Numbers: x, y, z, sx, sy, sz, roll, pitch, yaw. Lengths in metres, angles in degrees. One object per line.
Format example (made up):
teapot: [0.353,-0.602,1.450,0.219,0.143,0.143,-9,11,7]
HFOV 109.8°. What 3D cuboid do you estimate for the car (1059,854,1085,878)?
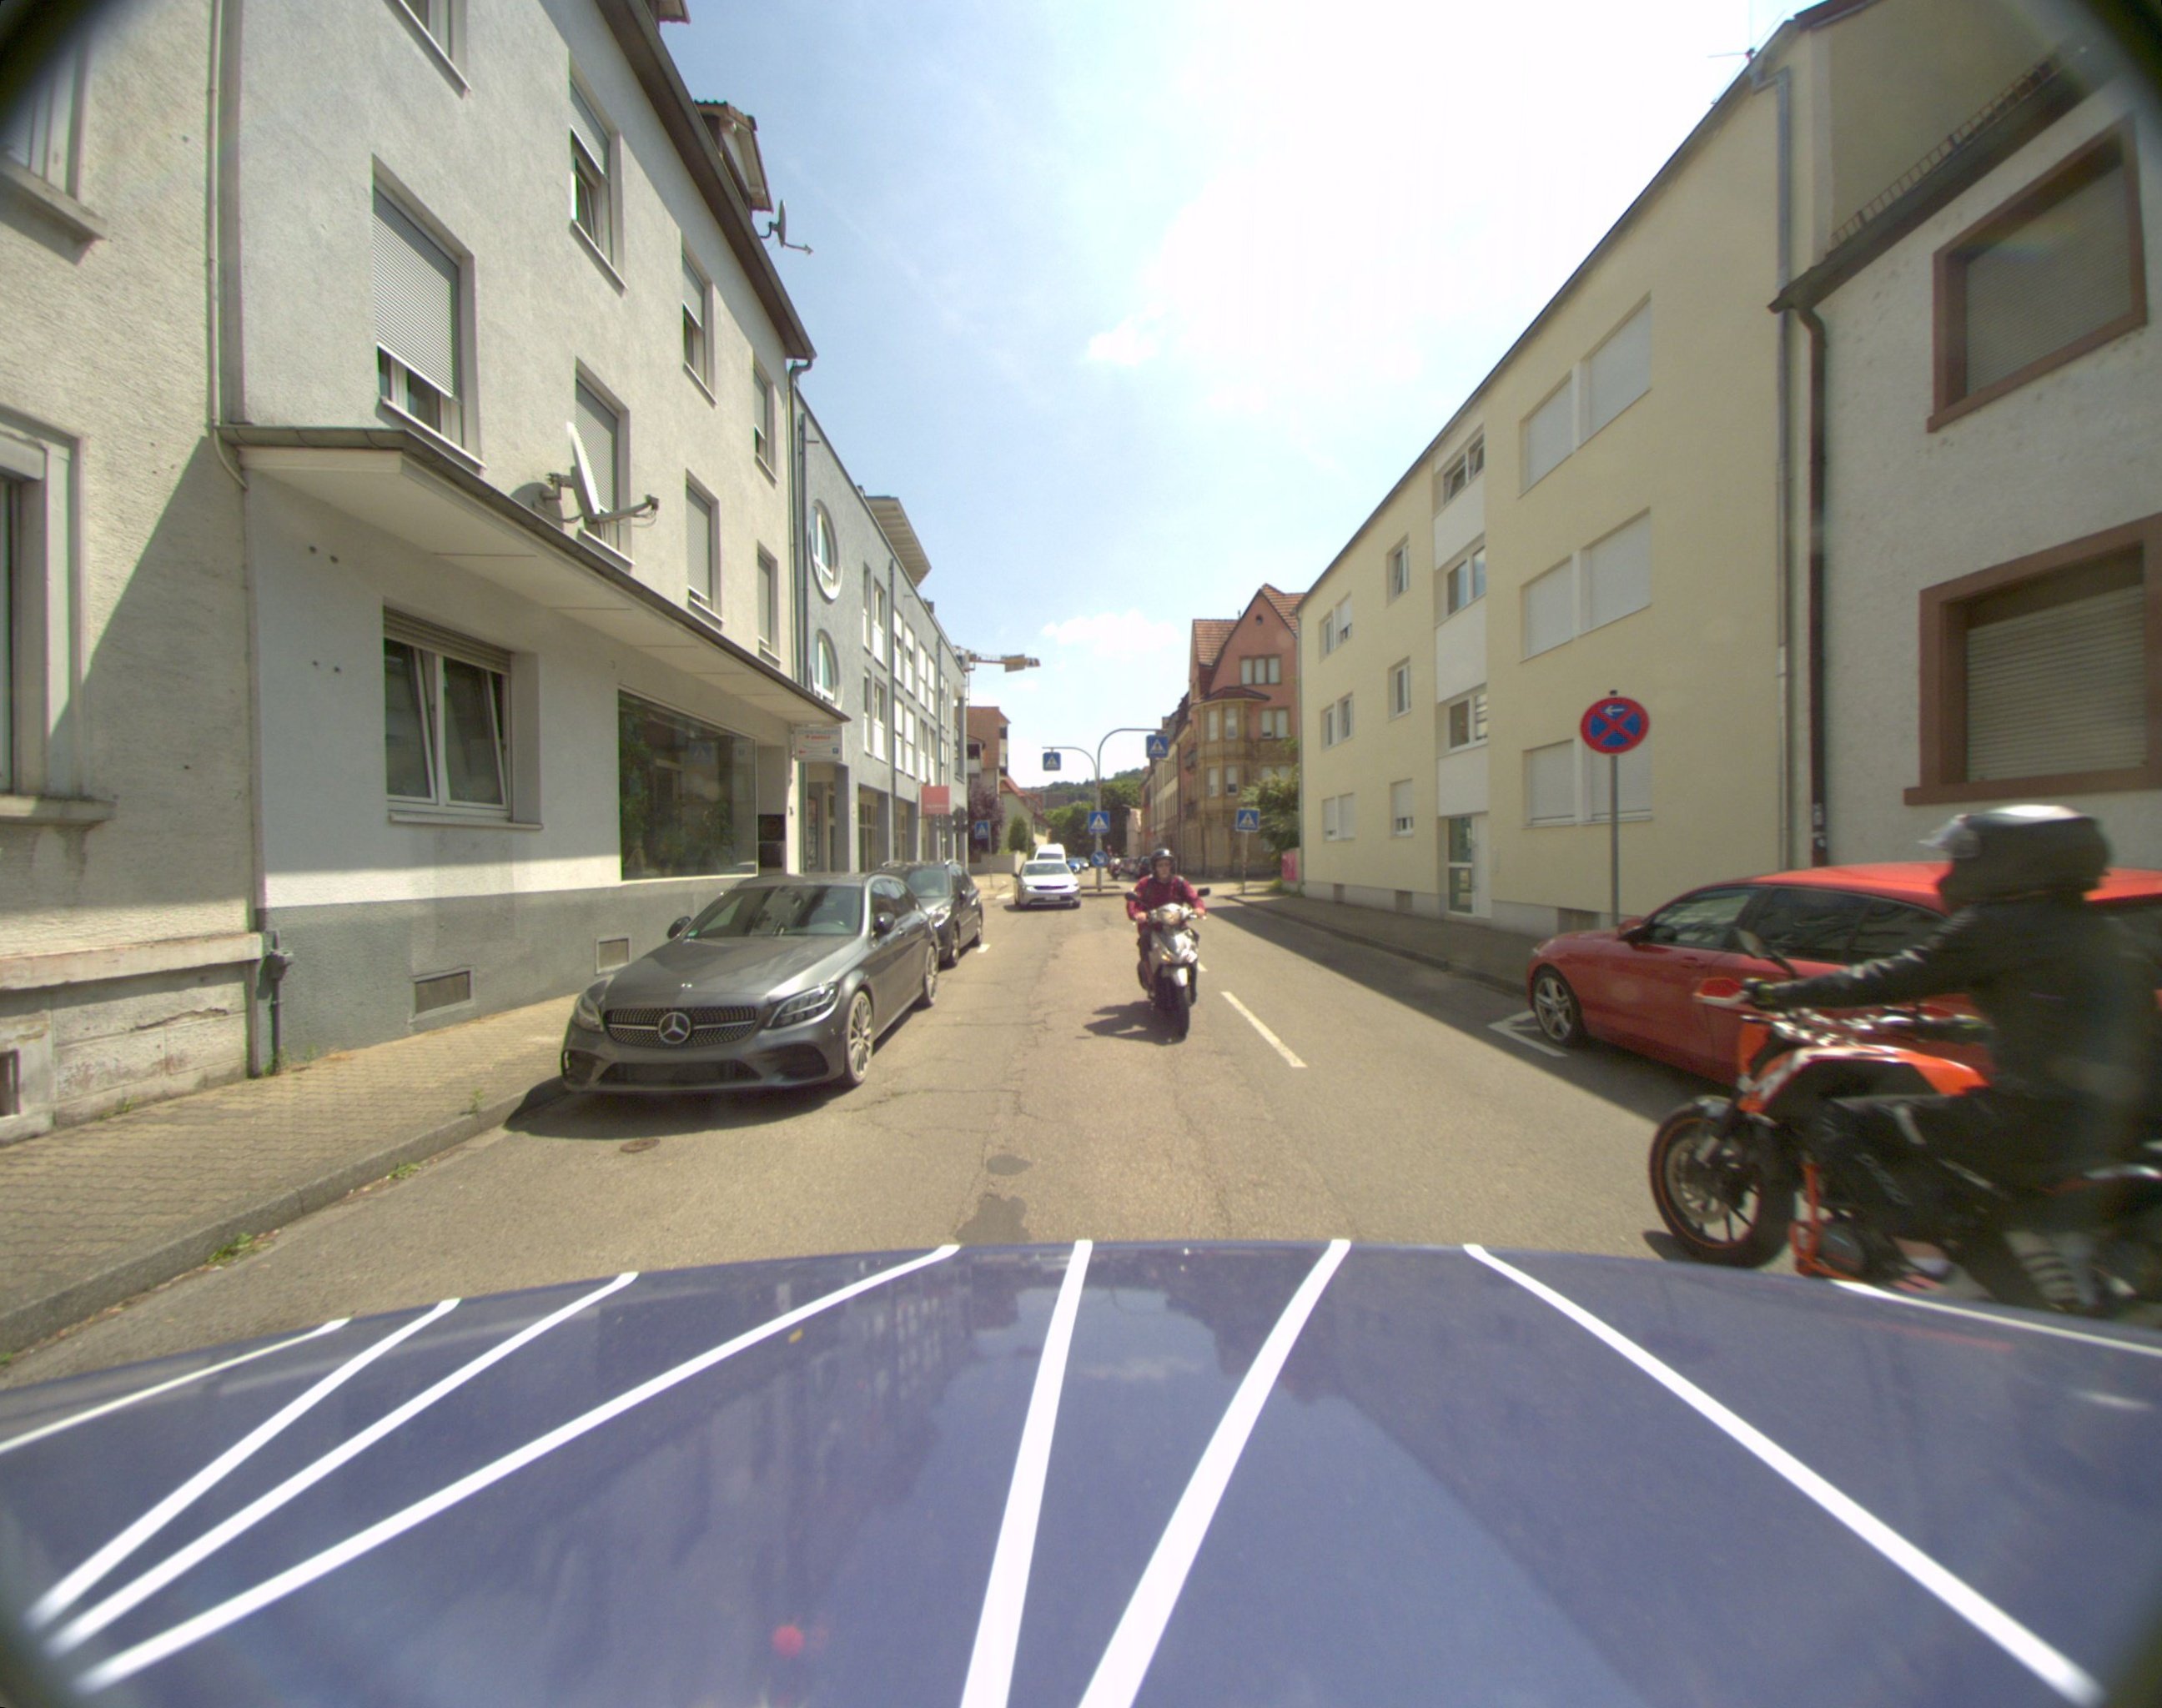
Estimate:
car: [-0.748,1.061,67.563,1.998,2.002,4.000,-3,0,2]

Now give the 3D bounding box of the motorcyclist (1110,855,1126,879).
motorcyclist: [2.343,0.779,47.773,0.918,1.471,1.203,-1,1,0]

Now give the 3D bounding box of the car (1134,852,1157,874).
car: [4.613,0.624,54.670,1.440,1.514,2.695,0,1,0]

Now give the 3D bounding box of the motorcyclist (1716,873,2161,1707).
motorcyclist: [2.382,0.814,1.828,0.824,1.500,1.057,0,1,1]

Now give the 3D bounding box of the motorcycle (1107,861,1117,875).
motorcycle: [2.404,1.050,58.689,0.714,1.022,2.240,0,0,4]

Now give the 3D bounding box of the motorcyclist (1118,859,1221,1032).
motorcyclist: [0.766,0.773,6.878,0.793,1.431,1.020,-2,0,1]

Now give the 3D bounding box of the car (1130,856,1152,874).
car: [4.994,0.909,63.739,1.638,1.423,4.018,1,0,1]

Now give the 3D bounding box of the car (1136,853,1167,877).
car: [4.621,0.690,50.499,1.787,1.450,4.635,0,1,2]

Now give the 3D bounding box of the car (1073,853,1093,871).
car: [0.252,0.892,88.162,1.998,2.002,4.000,-3,0,2]

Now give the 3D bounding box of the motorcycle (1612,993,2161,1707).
motorcycle: [2.347,1.089,1.866,0.689,1.116,2.028,0,0,1]

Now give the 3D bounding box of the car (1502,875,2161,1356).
car: [4.545,0.917,4.522,1.838,1.408,4.290,-1,0,2]

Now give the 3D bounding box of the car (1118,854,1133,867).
car: [5.451,0.792,93.677,1.714,1.451,3.853,1,0,0]

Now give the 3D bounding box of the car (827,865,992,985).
car: [-2.516,0.970,12.117,1.714,1.499,3.999,-1,0,0]

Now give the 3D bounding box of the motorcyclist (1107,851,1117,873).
motorcyclist: [2.386,0.604,58.606,0.714,1.625,1.069,0,0,4]

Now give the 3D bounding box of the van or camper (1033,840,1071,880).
van or camper: [-1.651,0.350,45.039,1.998,2.273,5.144,0,0,0]

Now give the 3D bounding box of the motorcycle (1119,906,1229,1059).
motorcycle: [0.778,1.081,6.970,0.760,1.049,1.992,-2,0,1]

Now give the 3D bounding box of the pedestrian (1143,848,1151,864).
pedestrian: [7.506,0.207,86.738,0.770,1.761,0.764,-2,0,0]

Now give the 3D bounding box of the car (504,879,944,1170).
car: [-2.389,1.024,6.516,1.734,1.412,4.543,-1,0,-2]

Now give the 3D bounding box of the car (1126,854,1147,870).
car: [5.070,0.754,69.914,1.602,1.433,3.495,0,0,0]

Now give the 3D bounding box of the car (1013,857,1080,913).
car: [-0.980,0.887,23.351,1.812,1.512,4.000,-1,0,0]

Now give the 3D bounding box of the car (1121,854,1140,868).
car: [5.521,0.718,84.710,1.882,1.501,4.381,0,0,1]

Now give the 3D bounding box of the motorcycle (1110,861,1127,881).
motorcycle: [2.339,1.039,47.756,0.898,1.169,2.208,-1,0,0]
